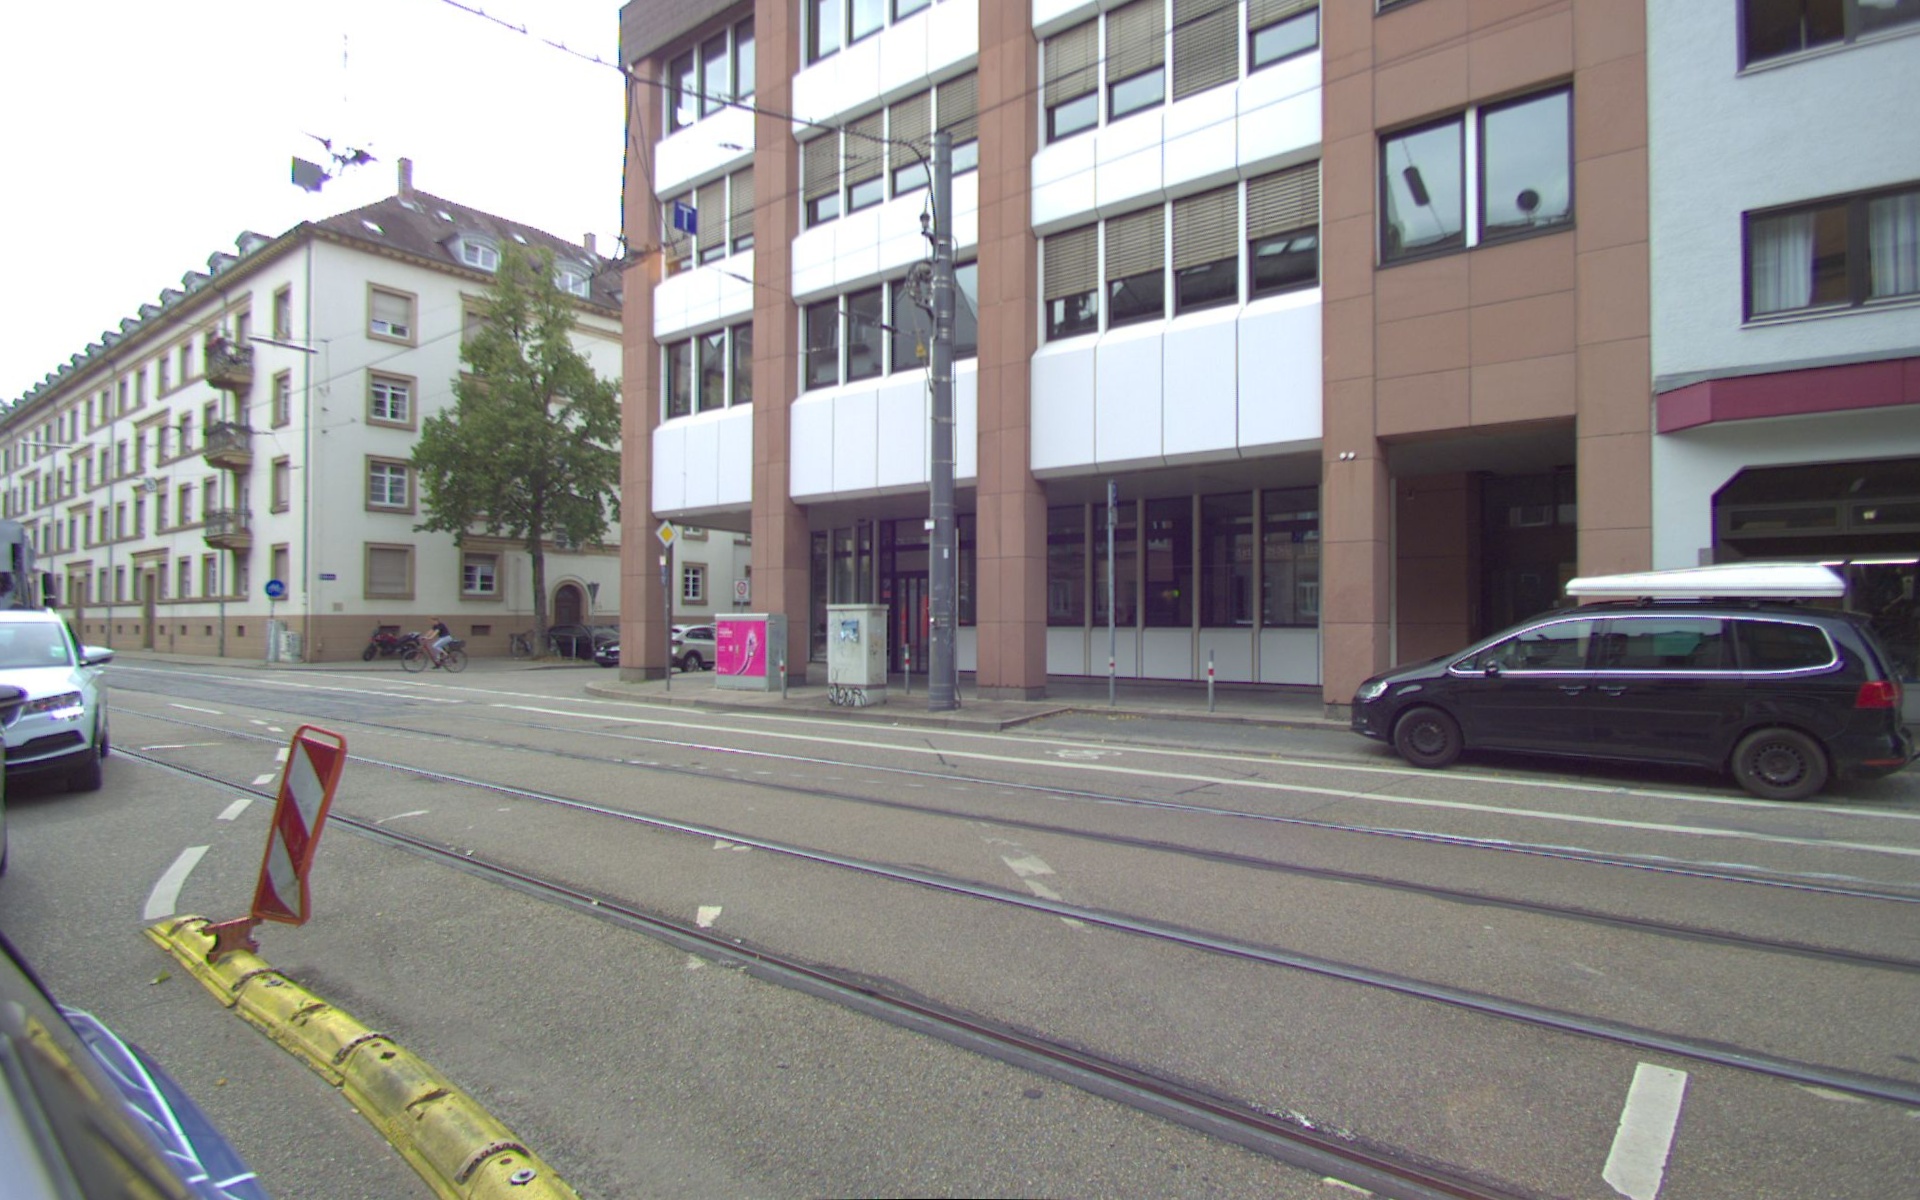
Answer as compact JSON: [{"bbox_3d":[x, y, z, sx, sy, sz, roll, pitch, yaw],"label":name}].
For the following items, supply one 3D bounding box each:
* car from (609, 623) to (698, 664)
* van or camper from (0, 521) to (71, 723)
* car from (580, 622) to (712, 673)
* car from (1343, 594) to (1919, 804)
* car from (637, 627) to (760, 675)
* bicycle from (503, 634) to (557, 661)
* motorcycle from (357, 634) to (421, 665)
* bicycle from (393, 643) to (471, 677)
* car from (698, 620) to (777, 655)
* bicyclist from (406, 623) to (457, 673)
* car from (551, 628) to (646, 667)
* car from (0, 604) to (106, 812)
[{"bbox_3d":[-12.262,1.710,40.420,3.711,1.559,1.591,-1,-2,38],"label":"car"},{"bbox_3d":[-20.306,0.463,19.979,9.642,3.447,2.575,-2,-2,39],"label":"van or camper"},{"bbox_3d":[-10.854,1.598,35.087,3.985,1.549,1.777,-1,-1,-40],"label":"car"},{"bbox_3d":[6.556,0.838,10.222,4.694,1.659,1.789,-2,0,40],"label":"car"},{"bbox_3d":[-7.953,1.518,31.032,1.606,1.399,3.611,-1,-2,31],"label":"car"},{"bbox_3d":[-17.568,1.924,41.380,0.792,1.094,1.900,-2,-2,39],"label":"bicycle"},{"bbox_3d":[-20.898,1.800,37.070,0.792,1.094,1.900,-2,-2,39],"label":"motorcycle"},{"bbox_3d":[-15.920,1.803,30.540,1.981,0.972,0.674,1,-3,-42],"label":"bicycle"},{"bbox_3d":[-9.857,1.655,44.770,3.520,1.473,1.572,-1,-2,38],"label":"car"},{"bbox_3d":[-15.936,1.437,30.538,1.240,1.473,0.678,1,-3,-42],"label":"bicyclist"},{"bbox_3d":[-13.811,1.774,38.623,3.869,1.407,1.591,-1,-2,38],"label":"car"},{"bbox_3d":[-9.120,0.886,9.204,1.748,1.603,4.285,-1,-1,-45],"label":"car"}]
